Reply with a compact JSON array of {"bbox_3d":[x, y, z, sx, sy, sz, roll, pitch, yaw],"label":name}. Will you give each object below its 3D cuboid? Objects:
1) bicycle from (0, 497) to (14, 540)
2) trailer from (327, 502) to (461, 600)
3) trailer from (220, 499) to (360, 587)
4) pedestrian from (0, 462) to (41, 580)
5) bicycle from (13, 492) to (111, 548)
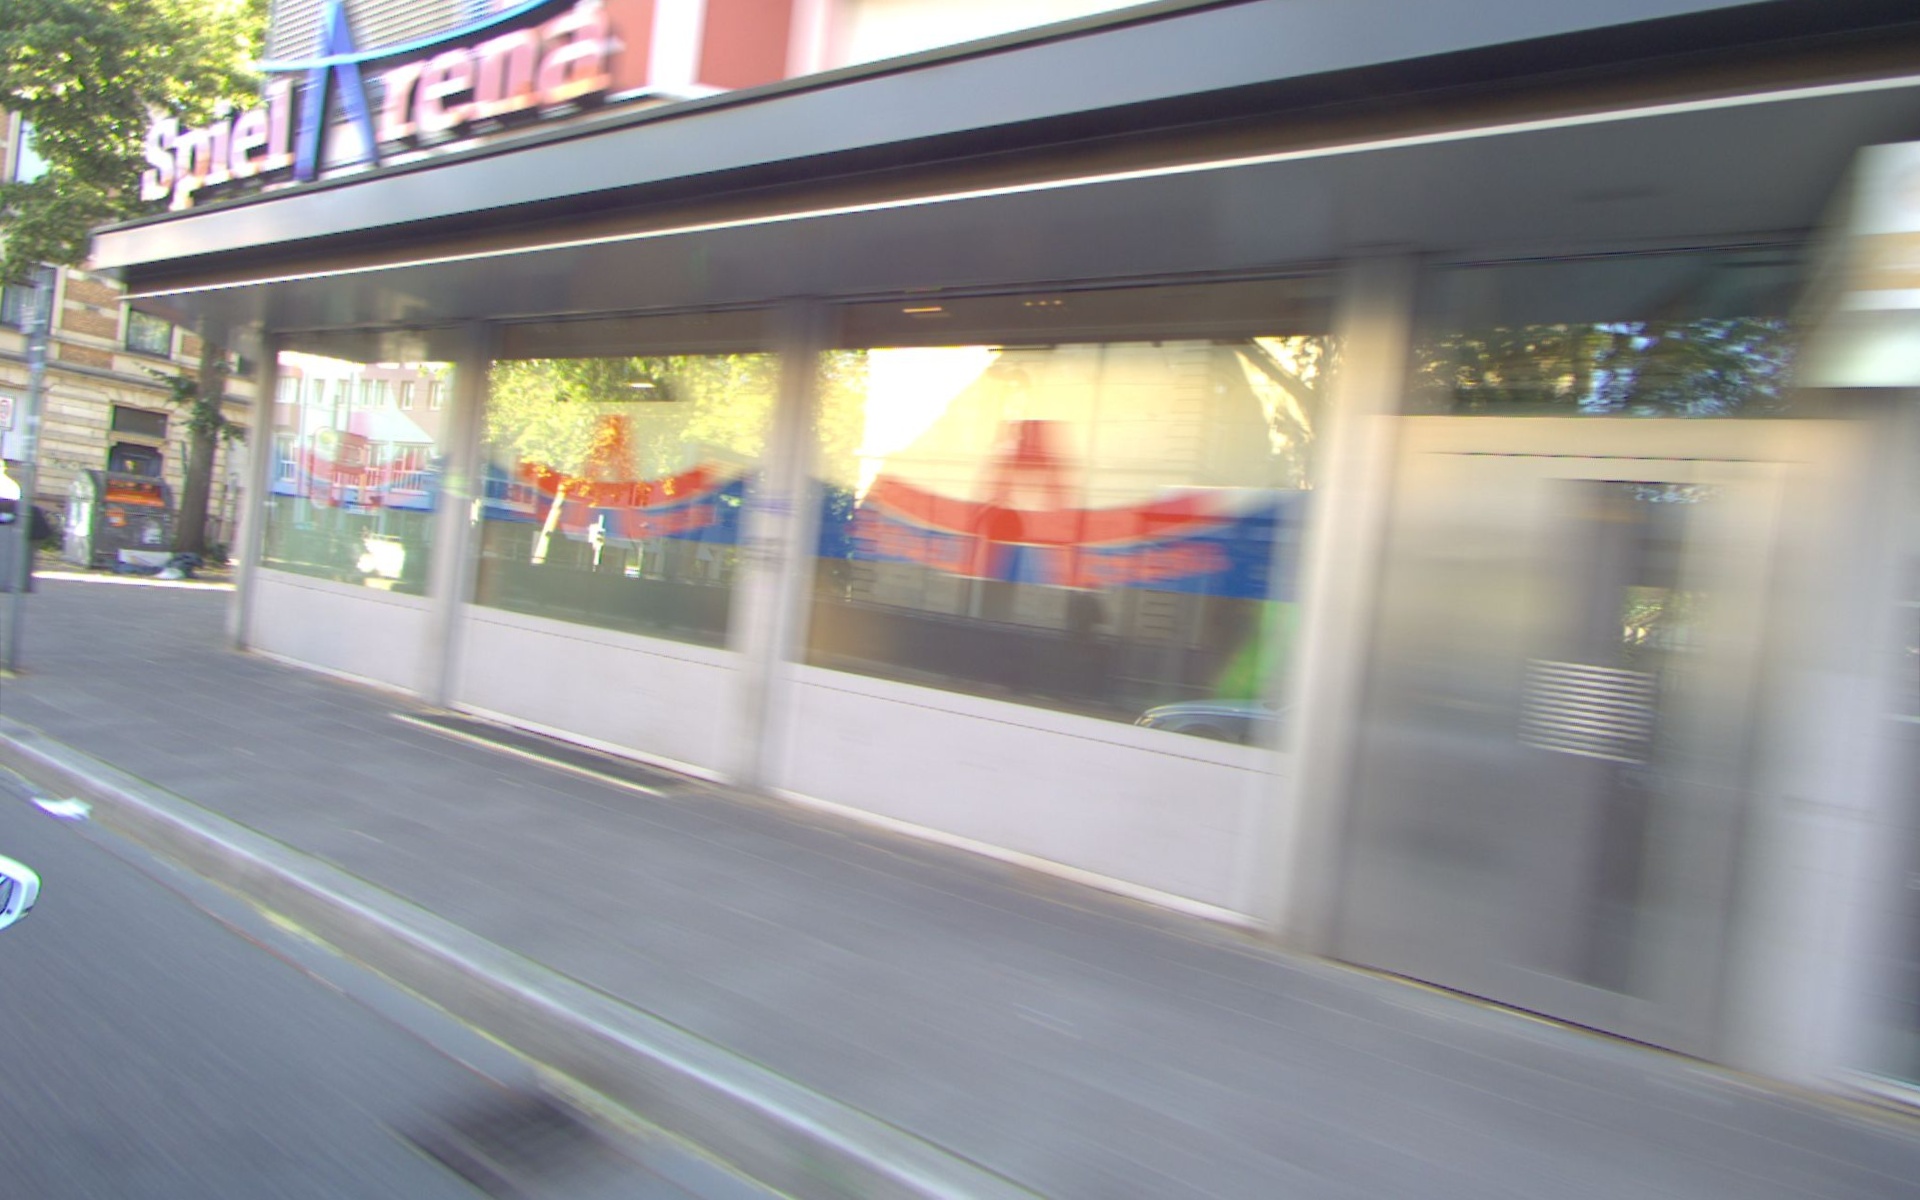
[{"bbox_3d":[-24.877,-2.165,25.297,1.871,1.037,0.497,7,0,10],"label":"bicycle"},{"bbox_3d":[-12.558,-1.107,22.268,3.142,1.908,1.571,6,1,42],"label":"trailer"},{"bbox_3d":[-16.026,-1.391,23.976,1.961,1.754,3.883,6,0,-45],"label":"trailer"},{"bbox_3d":[-14.538,-1.227,15.061,1.016,1.686,0.784,9,2,32],"label":"pedestrian"},{"bbox_3d":[-23.956,-2.134,26.850,2.067,1.197,0.616,7,0,5],"label":"bicycle"}]
